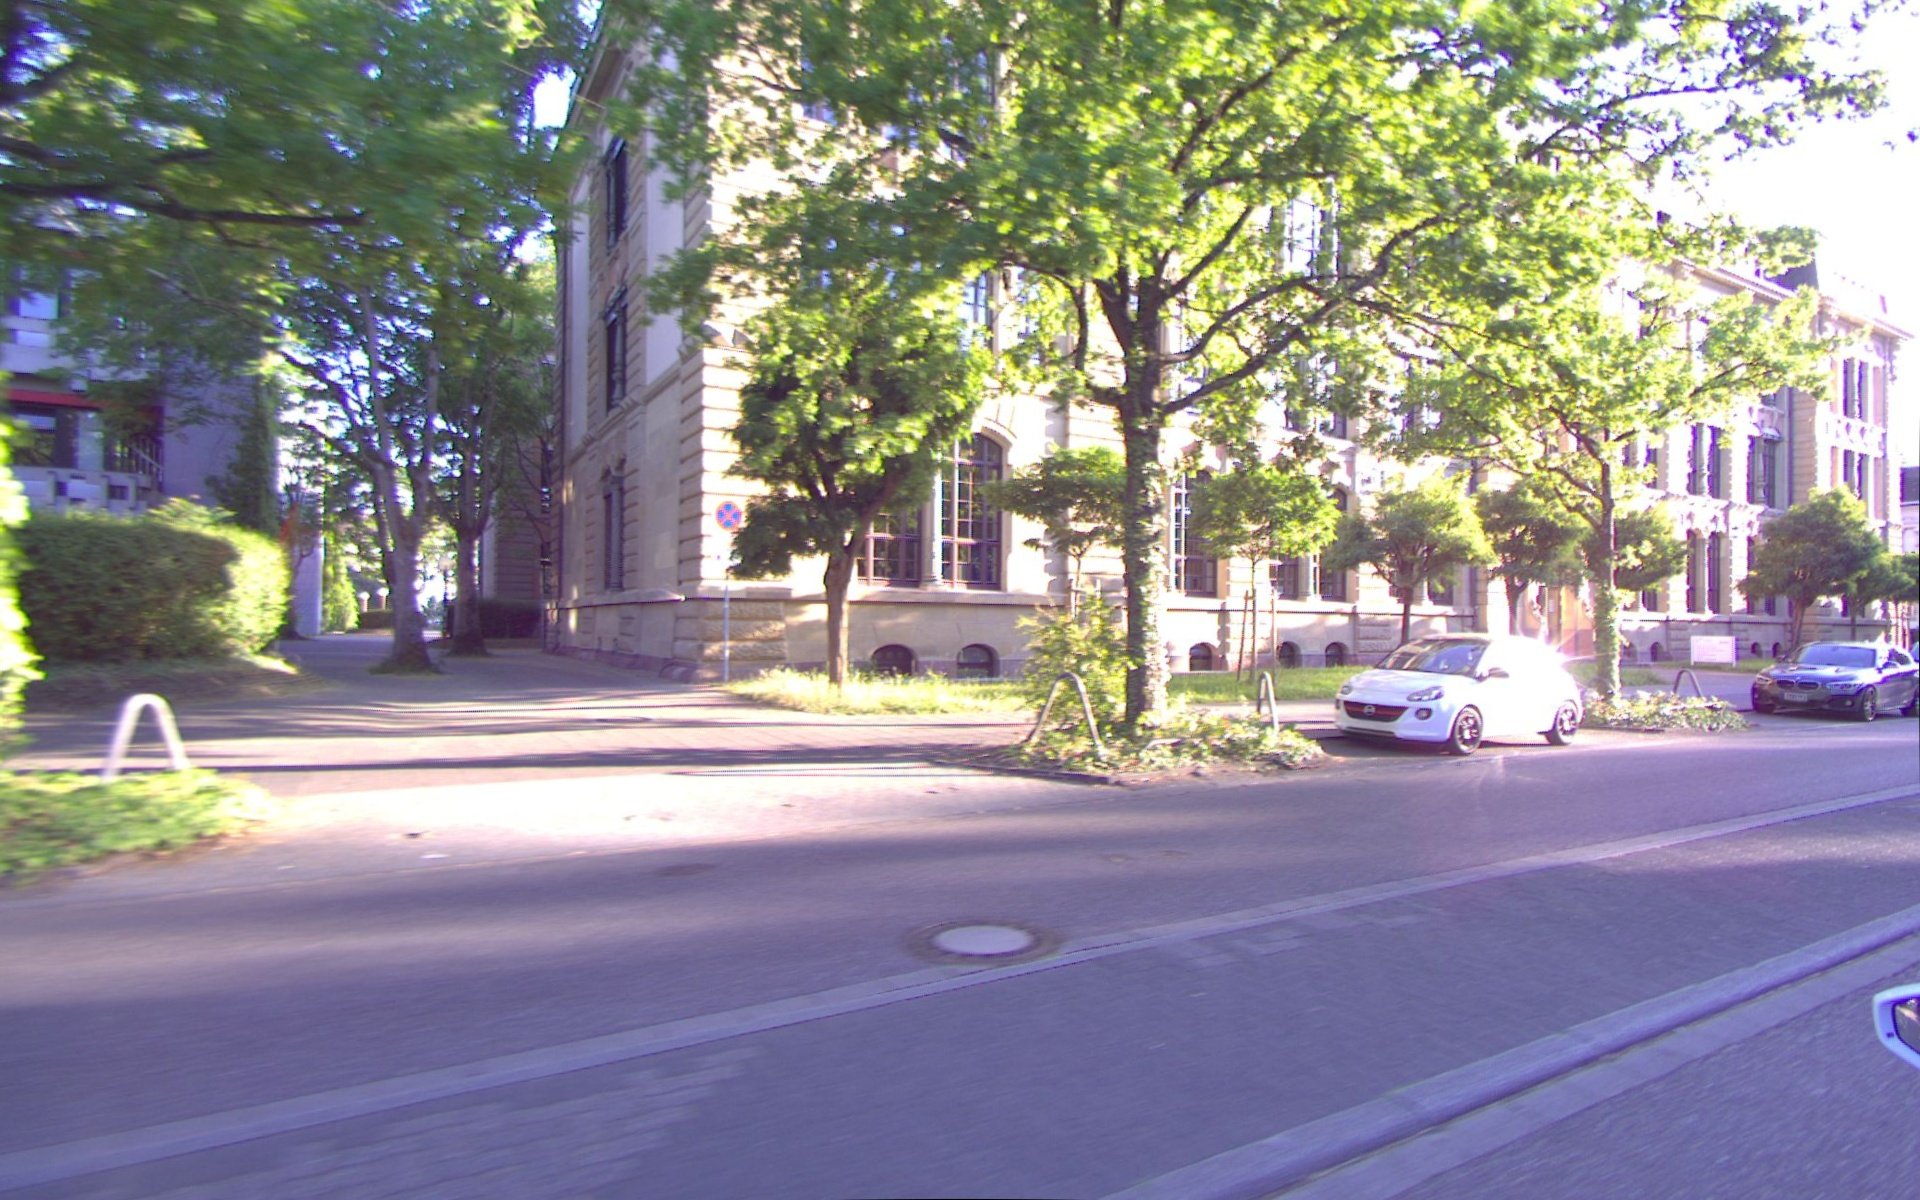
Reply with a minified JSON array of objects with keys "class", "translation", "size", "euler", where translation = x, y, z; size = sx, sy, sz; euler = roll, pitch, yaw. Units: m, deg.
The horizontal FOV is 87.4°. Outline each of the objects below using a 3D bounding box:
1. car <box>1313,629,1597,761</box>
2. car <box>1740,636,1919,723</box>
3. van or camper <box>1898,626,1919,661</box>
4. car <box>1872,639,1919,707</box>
[{"class":"car","translation":[6.687,1.177,13.478],"size":[3.880,1.516,1.609],"euler":[1,-1,-32]},{"class":"car","translation":[17.330,1.492,19.856],"size":[4.328,1.516,1.609],"euler":[1,-1,-32]},{"class":"van or camper","translation":[61.147,2.687,61.683],"size":[1.975,2.012,4.749],"euler":[-4,1,-28]},{"class":"car","translation":[23.358,1.694,23.759],"size":[4.332,1.516,1.708],"euler":[1,-1,-34]}]
